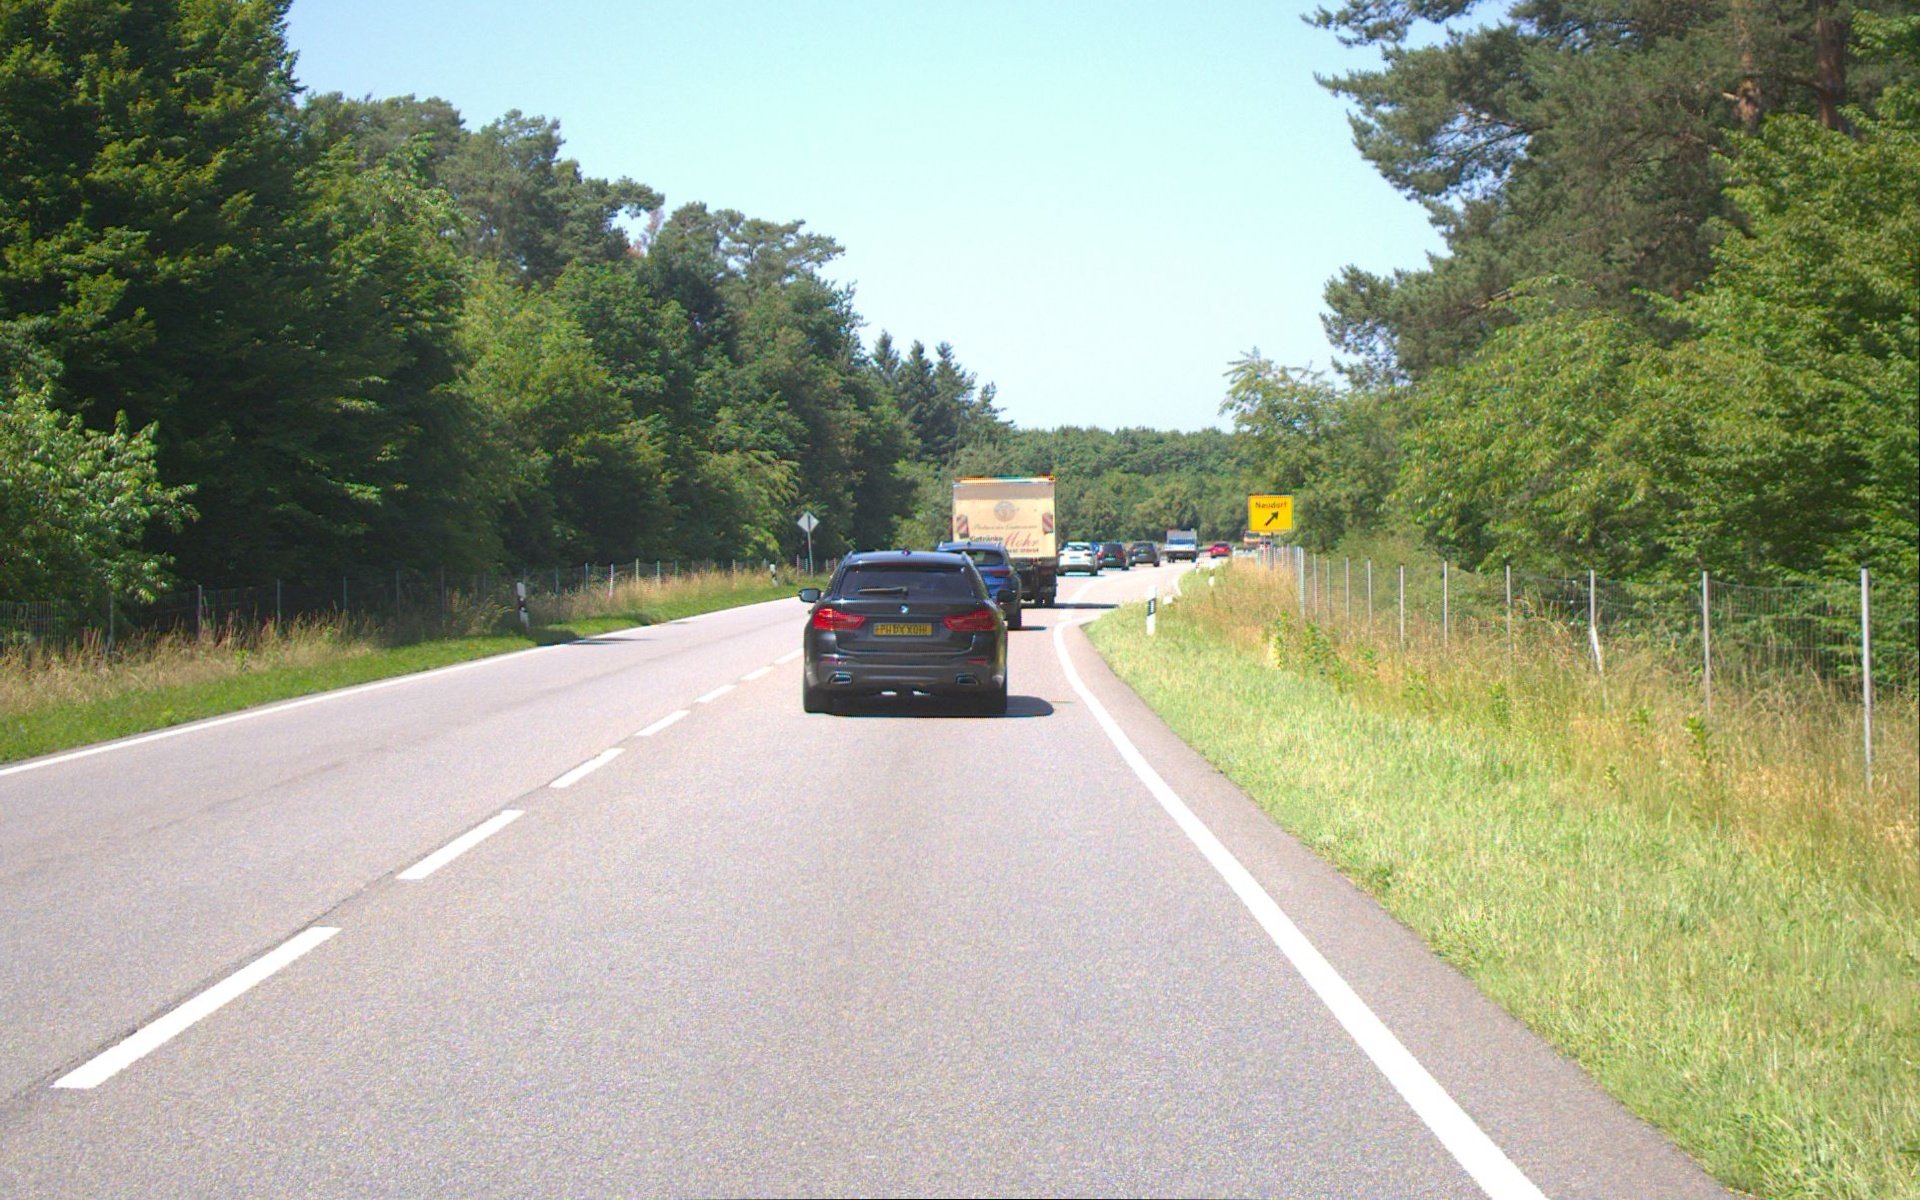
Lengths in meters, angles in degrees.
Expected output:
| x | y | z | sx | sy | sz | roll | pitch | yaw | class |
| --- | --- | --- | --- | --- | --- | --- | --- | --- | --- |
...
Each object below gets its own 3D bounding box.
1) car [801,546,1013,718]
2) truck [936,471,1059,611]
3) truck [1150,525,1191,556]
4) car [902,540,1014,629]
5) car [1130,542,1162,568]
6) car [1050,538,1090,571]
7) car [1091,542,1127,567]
| x | y | z | sx | sy | sz | roll | pitch | yaw | class |
| --- | --- | --- | --- | --- | --- | --- | --- | --- | --- |
| -0.556 | 0.250 | 32.133 | 1.820 | 1.465 | 4.001 | -1 | 1 | -3 | car |
| 0.976 | -1.511 | 87.191 | 2.966 | 3.376 | 6.438 | -1 | 1 | 1 | truck |
| 15.402 | -4.359 | 251.926 | 2.563 | 2.195 | 4.974 | 0 | 1 | -2 | truck |
| -0.063 | -0.306 | 63.780 | 1.947 | 1.536 | 4.000 | -2 | 1 | -1 | car |
| 12.011 | -2.915 | 222.272 | 1.994 | 1.631 | 4.000 | -2 | 1 | 2 | car |
| 5.367 | -2.255 | 168.330 | 1.863 | 1.600 | 4.000 | 0 | 1 | 0 | car |
| 8.668 | -2.650 | 199.678 | 1.994 | 1.415 | 4.000 | 0 | 1 | 4 | car |
